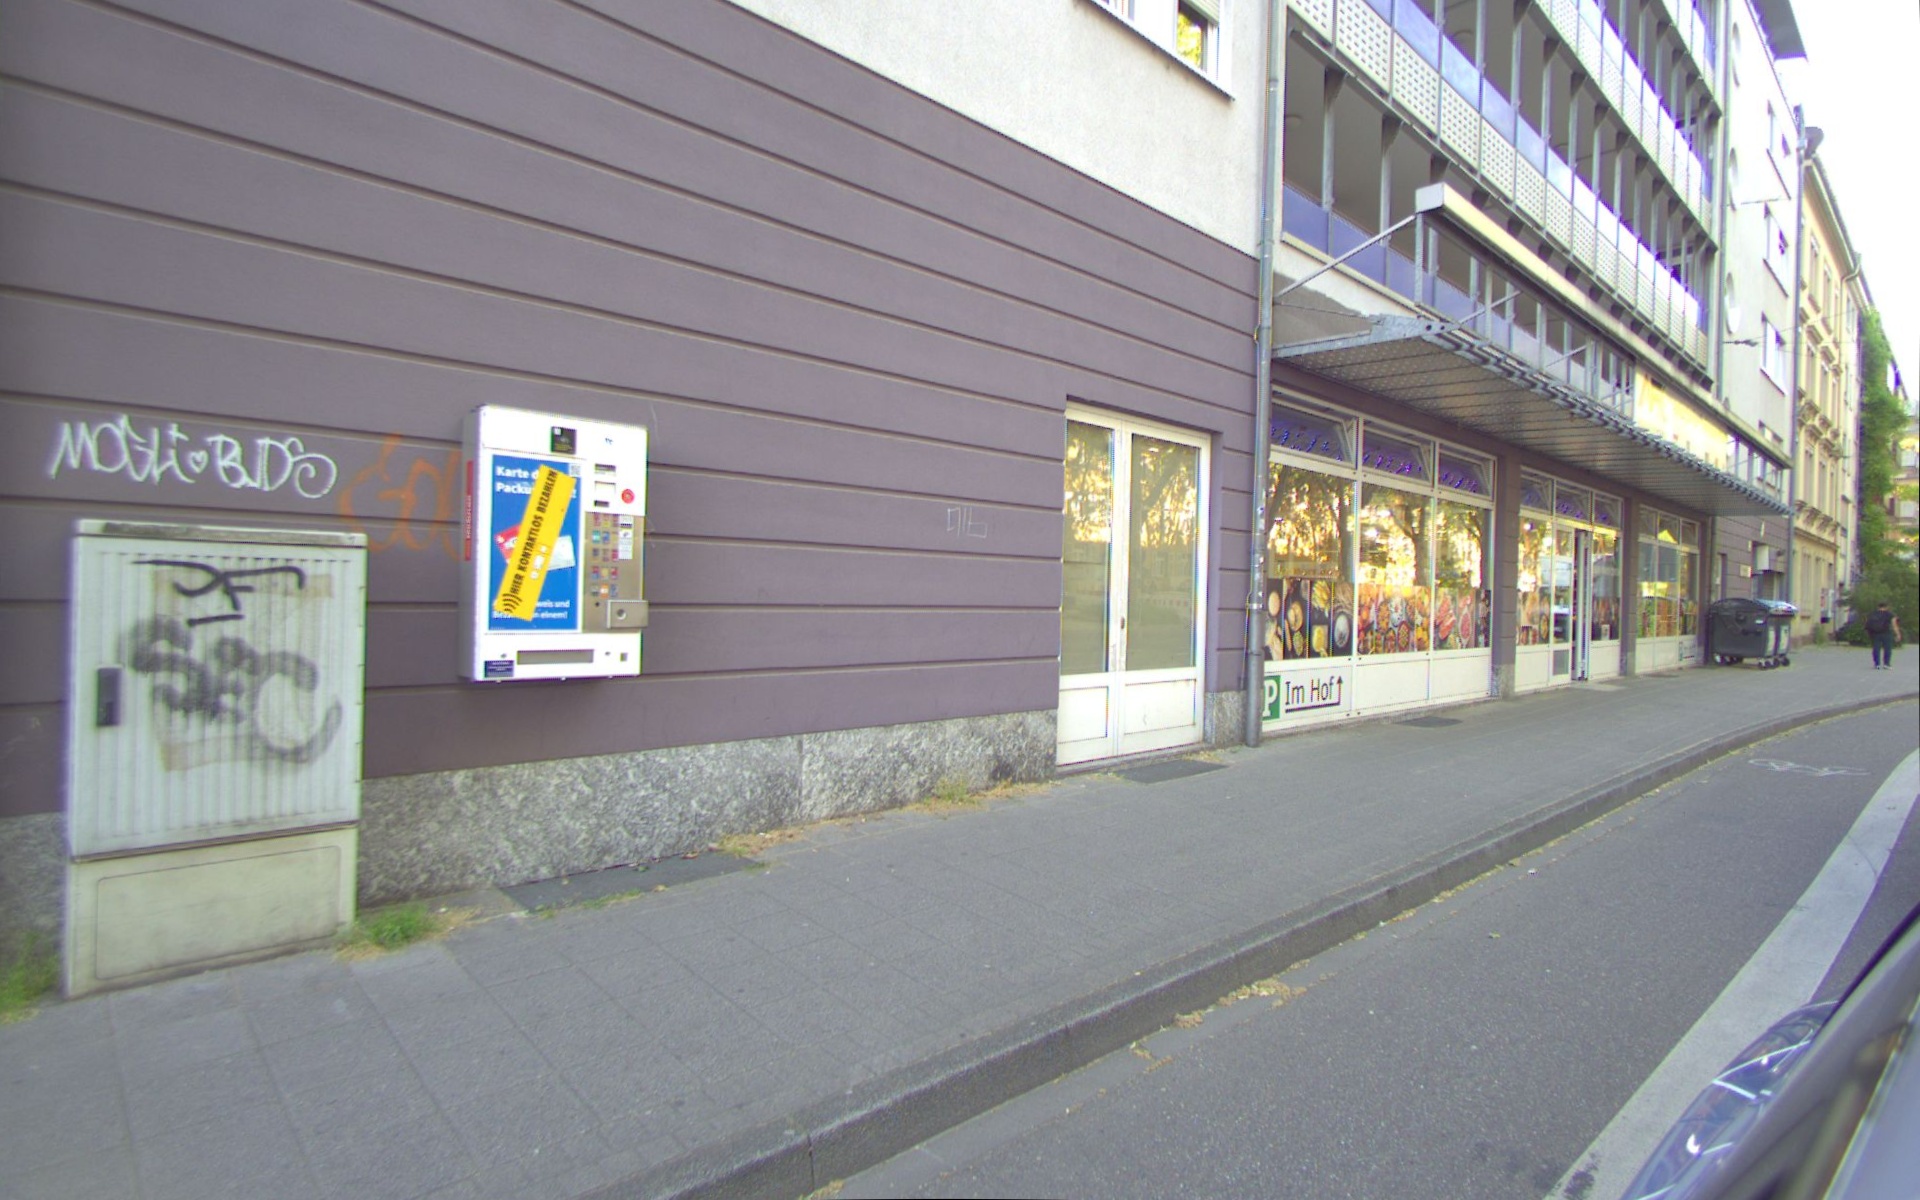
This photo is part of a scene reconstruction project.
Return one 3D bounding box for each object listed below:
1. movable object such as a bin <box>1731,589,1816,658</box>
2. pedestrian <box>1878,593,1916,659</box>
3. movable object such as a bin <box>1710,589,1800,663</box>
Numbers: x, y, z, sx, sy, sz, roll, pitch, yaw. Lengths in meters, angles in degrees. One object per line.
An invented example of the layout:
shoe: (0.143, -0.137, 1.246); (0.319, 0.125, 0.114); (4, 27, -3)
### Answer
movable object such as a bin: (17.858, 0.490, 22.222); (1.348, 1.427, 1.203); (1, 1, -41)
pedestrian: (21.310, 0.587, 23.025); (0.619, 1.463, 0.540); (1, 1, -41)
movable object such as a bin: (16.436, 0.510, 20.917); (1.348, 1.427, 1.203); (1, 1, -41)
